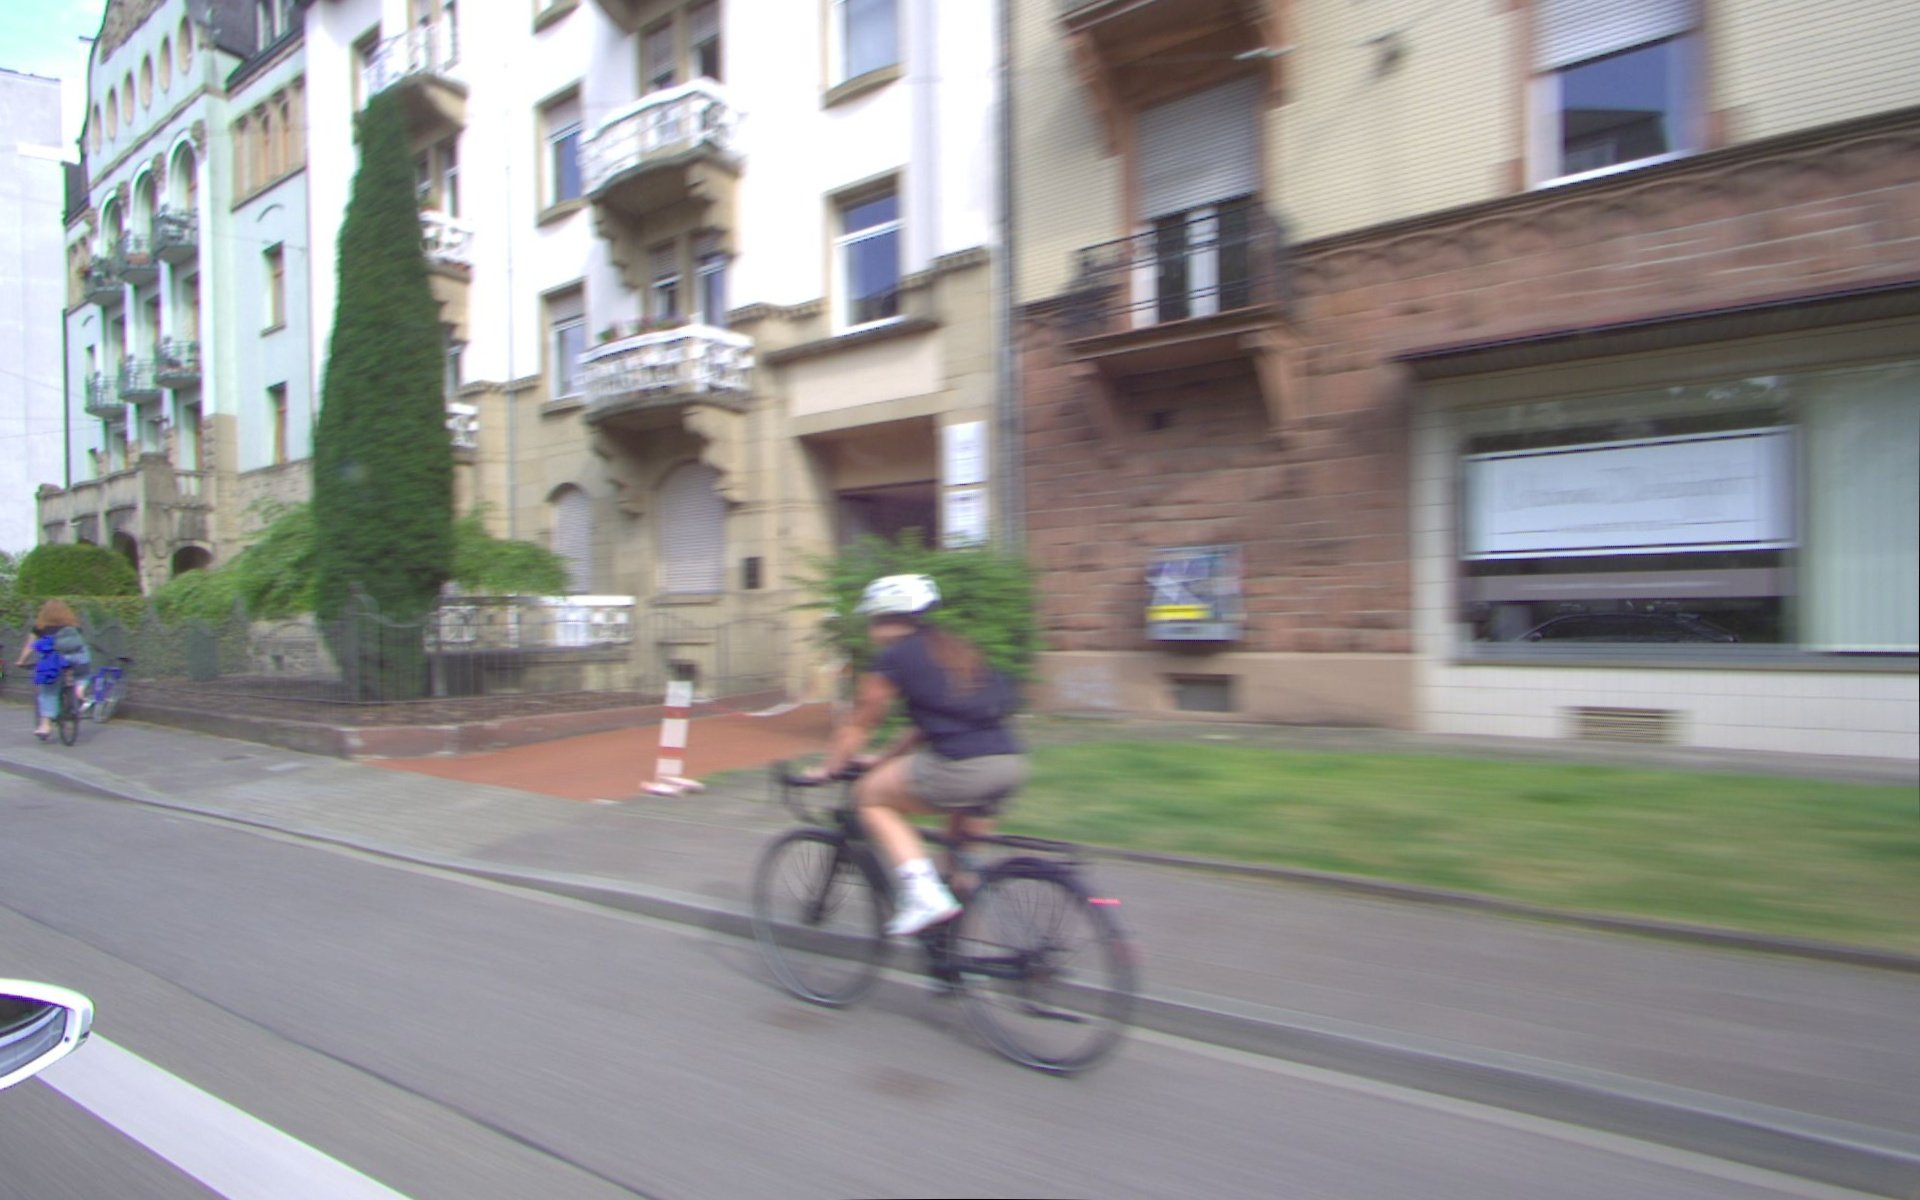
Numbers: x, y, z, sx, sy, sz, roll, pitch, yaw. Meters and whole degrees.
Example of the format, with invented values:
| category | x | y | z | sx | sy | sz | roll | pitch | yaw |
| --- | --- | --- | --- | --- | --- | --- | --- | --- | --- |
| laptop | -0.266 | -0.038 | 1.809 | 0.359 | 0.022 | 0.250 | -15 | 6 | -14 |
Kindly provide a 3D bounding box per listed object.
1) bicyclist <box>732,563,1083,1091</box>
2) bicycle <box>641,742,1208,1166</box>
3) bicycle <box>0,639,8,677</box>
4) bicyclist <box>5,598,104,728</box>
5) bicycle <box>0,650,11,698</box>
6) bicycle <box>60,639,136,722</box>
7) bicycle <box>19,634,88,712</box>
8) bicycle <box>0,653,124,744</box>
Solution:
| category | x | y | z | sx | sy | sz | roll | pitch | yaw |
| --- | --- | --- | --- | --- | --- | --- | --- | --- | --- |
| bicyclist | -0.190 | 0.703 | 3.597 | 1.095 | 1.590 | 0.637 | -1 | -2 | 33 |
| bicycle | -0.205 | 1.094 | 3.599 | 2.042 | 0.993 | 0.637 | -1 | -2 | 33 |
| bicycle | -24.545 | 1.464 | 24.553 | 0.480 | 0.919 | 1.655 | -1 | 0 | 33 |
| bicyclist | -10.897 | 0.731 | 12.054 | 0.789 | 1.490 | 0.645 | 0 | 2 | 33 |
| bicycle | -17.839 | 1.358 | 18.451 | 1.182 | 0.864 | 0.277 | -2 | 0 | 36 |
| bicycle | -12.362 | 1.126 | 14.351 | 1.736 | 1.117 | 0.390 | -1 | 1 | 35 |
| bicycle | -14.488 | 1.137 | 15.985 | 1.895 | 1.157 | 0.390 | -1 | 1 | 35 |
| bicycle | -10.928 | 1.155 | 12.110 | 2.008 | 0.975 | 0.687 | -1 | -1 | 33 |
